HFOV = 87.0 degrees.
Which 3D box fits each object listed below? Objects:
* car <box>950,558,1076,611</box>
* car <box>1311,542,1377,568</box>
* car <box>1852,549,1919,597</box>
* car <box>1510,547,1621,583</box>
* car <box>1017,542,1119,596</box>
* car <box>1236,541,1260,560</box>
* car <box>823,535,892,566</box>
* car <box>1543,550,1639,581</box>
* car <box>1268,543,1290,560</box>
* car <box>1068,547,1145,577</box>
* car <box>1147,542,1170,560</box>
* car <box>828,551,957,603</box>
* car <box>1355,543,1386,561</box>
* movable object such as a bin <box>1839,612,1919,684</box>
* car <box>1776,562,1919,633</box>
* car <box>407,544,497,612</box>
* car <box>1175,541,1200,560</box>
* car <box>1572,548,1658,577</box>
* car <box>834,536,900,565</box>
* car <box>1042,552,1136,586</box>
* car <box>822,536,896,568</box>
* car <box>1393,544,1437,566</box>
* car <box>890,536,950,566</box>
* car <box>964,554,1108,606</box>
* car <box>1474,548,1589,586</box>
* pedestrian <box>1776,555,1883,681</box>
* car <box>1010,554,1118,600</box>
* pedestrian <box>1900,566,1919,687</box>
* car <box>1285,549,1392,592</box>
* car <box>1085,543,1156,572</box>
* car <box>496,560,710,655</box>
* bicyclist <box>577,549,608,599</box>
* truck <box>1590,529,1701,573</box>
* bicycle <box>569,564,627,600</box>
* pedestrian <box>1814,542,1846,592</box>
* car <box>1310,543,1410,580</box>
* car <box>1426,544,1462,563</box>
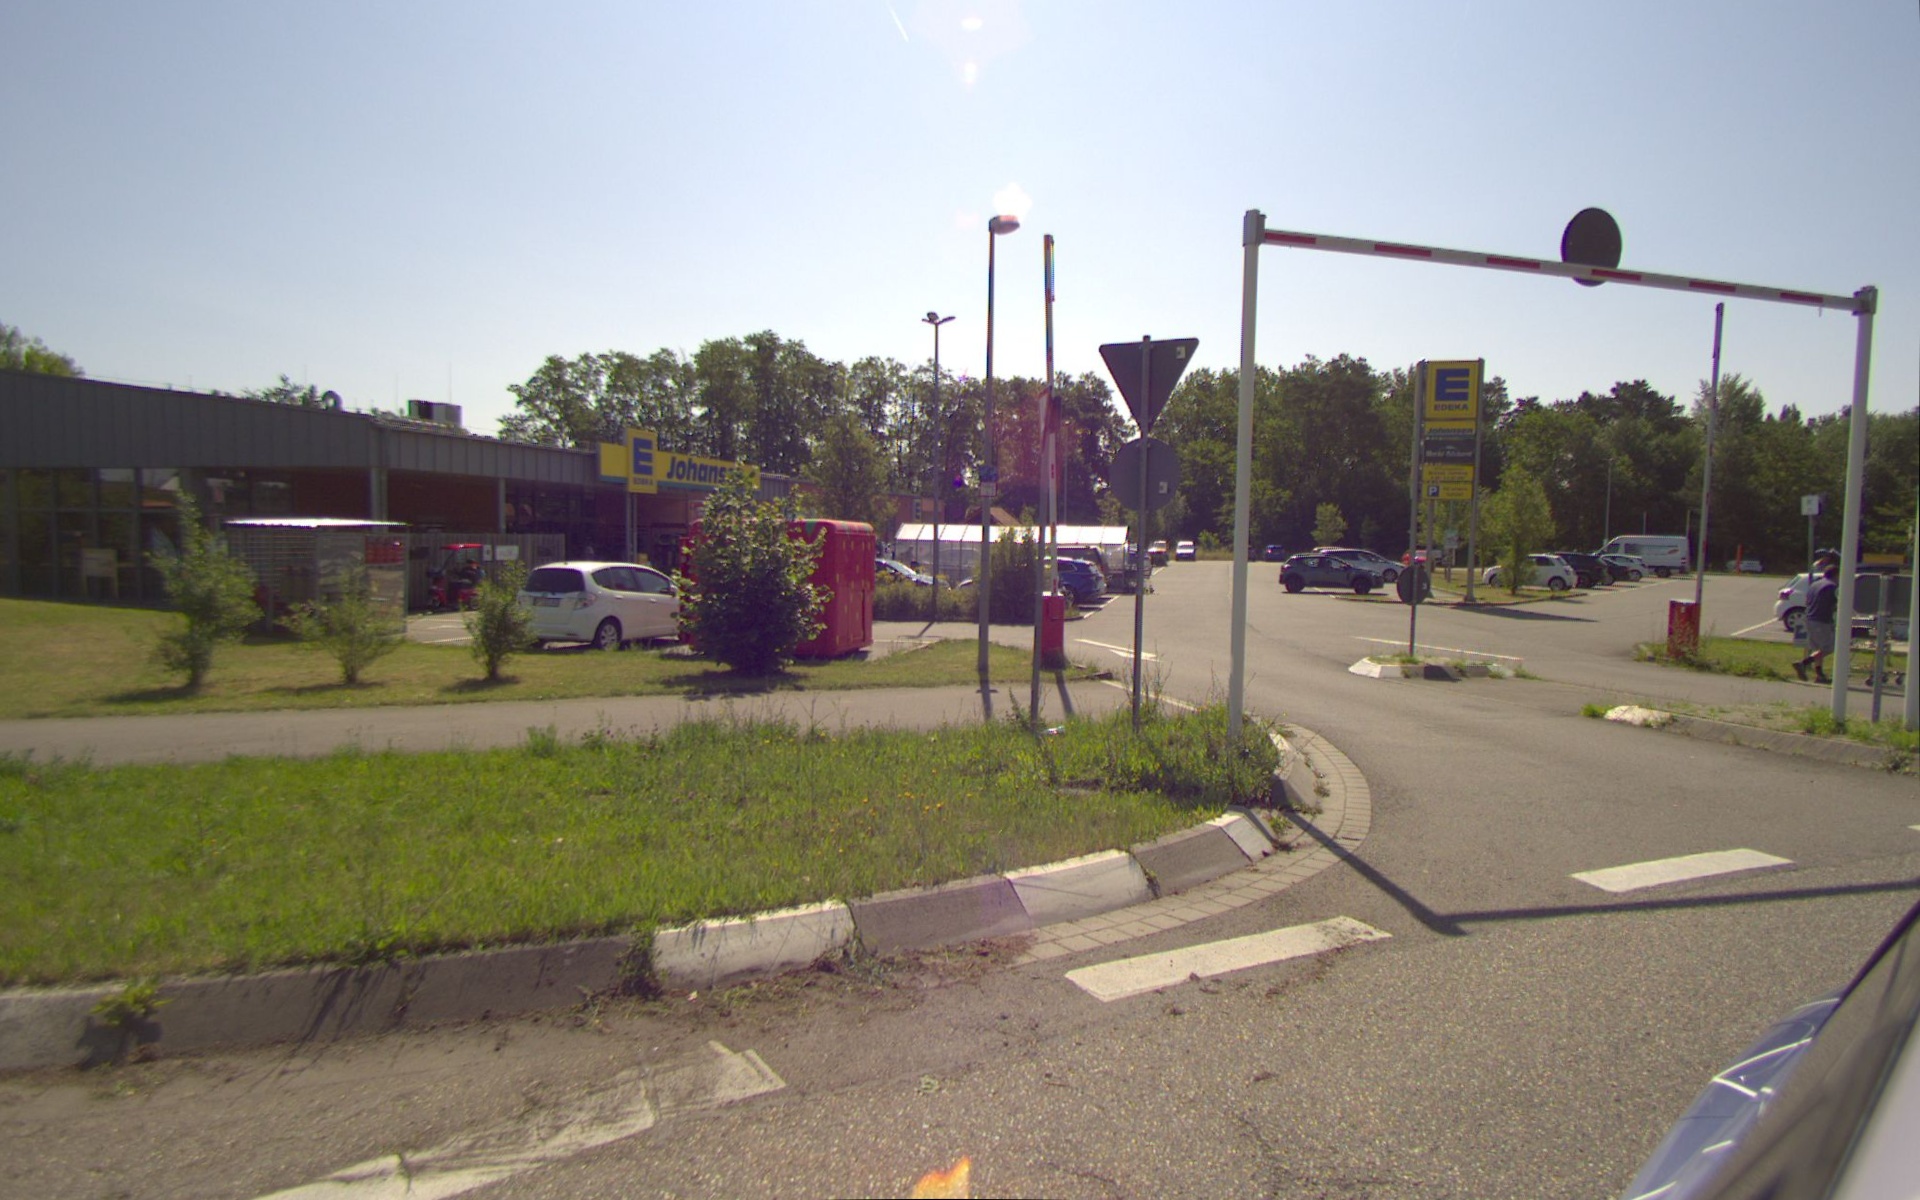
[{"bbox_3d":[1.618,-0.514,30.602,3.453,1.475,1.704,2,3,23],"label":"car"},{"bbox_3d":[25.197,-2.952,66.484,3.950,1.603,1.959,2,3,20],"label":"car"},{"bbox_3d":[34.317,-0.938,35.760,4.118,1.647,1.726,4,4,42],"label":"car"},{"bbox_3d":[28.118,-1.656,47.038,4.147,1.593,1.972,3,4,40],"label":"car"},{"bbox_3d":[4.086,-1.202,38.122,3.453,1.952,1.865,2,3,23],"label":"car"},{"bbox_3d":[26.148,-4.522,92.024,2.042,1.731,3.983,2,3,16],"label":"car"},{"bbox_3d":[-6.486,-3.143,64.063,3.938,1.837,1.994,2,3,12],"label":"car"},{"bbox_3d":[31.623,-1.772,50.728,3.975,1.444,1.728,3,4,35],"label":"car"},{"bbox_3d":[28.789,-4.415,91.424,1.639,1.503,4.354,2,4,15],"label":"car"},{"bbox_3d":[7.882,-2.049,54.285,3.941,1.504,1.961,1,3,14],"label":"car"},{"bbox_3d":[18.391,-4.550,93.619,1.770,1.615,4.245,2,4,14],"label":"car"},{"bbox_3d":[-2.255,-0.825,34.159,3.946,1.642,1.903,1,3,17],"label":"car"},{"bbox_3d":[36.400,-4.265,89.740,2.042,1.504,3.983,2,3,16],"label":"car"},{"bbox_3d":[13.937,0.699,14.901,1.185,0.966,0.877,1,3,13],"label":"movable object such as a bin"},{"bbox_3d":[22.827,-0.097,25.352,3.587,1.580,1.790,4,4,38],"label":"car"},{"bbox_3d":[-12.854,-0.580,25.665,1.115,1.655,1.821,1,3,16],"label":"car"},{"bbox_3d":[20.891,-4.558,92.829,2.042,1.731,3.983,2,3,16],"label":"car"},{"bbox_3d":[36.793,-2.136,56.990,3.945,1.470,1.883,3,4,32],"label":"car"},{"bbox_3d":[-6.081,-3.279,66.594,3.938,1.837,1.994,2,3,12],"label":"car"},{"bbox_3d":[5.741,-1.389,44.900,3.943,1.437,1.974,1,3,16],"label":"car"},{"bbox_3d":[-5.956,-2.850,59.901,3.937,1.837,1.994,2,3,11],"label":"car"},{"bbox_3d":[34.039,-3.391,75.826,1.969,1.483,4.482,2,4,11],"label":"car"},{"bbox_3d":[-2.860,-3.568,73.102,3.945,2.038,1.991,2,3,17],"label":"car"},{"bbox_3d":[2.466,-0.694,32.884,4.372,1.590,1.706,1,3,20],"label":"car"},{"bbox_3d":[24.340,-1.446,43.196,3.986,1.459,1.626,4,4,42],"label":"car"},{"bbox_3d":[12.953,0.234,15.114,0.830,1.807,0.877,1,2,13],"label":"pedestrian"},{"bbox_3d":[3.670,-0.843,35.663,3.453,1.516,1.704,2,3,23],"label":"car"},{"bbox_3d":[13.588,0.370,13.941,0.587,1.668,0.702,1,2,11],"label":"pedestrian"},{"bbox_3d":[15.265,-1.230,40.855,3.955,1.607,1.650,2,3,23],"label":"car"},{"bbox_3d":[9.827,-2.625,61.983,3.952,1.682,1.987,2,3,21],"label":"car"},{"bbox_3d":[-6.195,0.044,18.022,1.703,1.463,3.751,2,2,18],"label":"car"},{"bbox_3d":[-11.412,-0.823,31.437,0.672,1.533,0.600,2,3,32],"label":"bicyclist"},{"bbox_3d":[43.834,-3.183,64.796,5.596,2.636,2.171,4,5,41],"label":"truck"},{"bbox_3d":[-11.218,-0.571,31.306,2.061,1.054,0.547,3,3,33],"label":"bicycle"},{"bbox_3d":[32.231,-1.226,37.494,0.818,1.819,0.854,3,4,41],"label":"pedestrian"},{"bbox_3d":[20.116,-1.961,51.101,4.495,1.723,1.991,-1,3,16],"label":"car"},{"bbox_3d":[41.945,-4.043,87.747,2.042,1.504,3.983,2,3,16],"label":"car"}]
